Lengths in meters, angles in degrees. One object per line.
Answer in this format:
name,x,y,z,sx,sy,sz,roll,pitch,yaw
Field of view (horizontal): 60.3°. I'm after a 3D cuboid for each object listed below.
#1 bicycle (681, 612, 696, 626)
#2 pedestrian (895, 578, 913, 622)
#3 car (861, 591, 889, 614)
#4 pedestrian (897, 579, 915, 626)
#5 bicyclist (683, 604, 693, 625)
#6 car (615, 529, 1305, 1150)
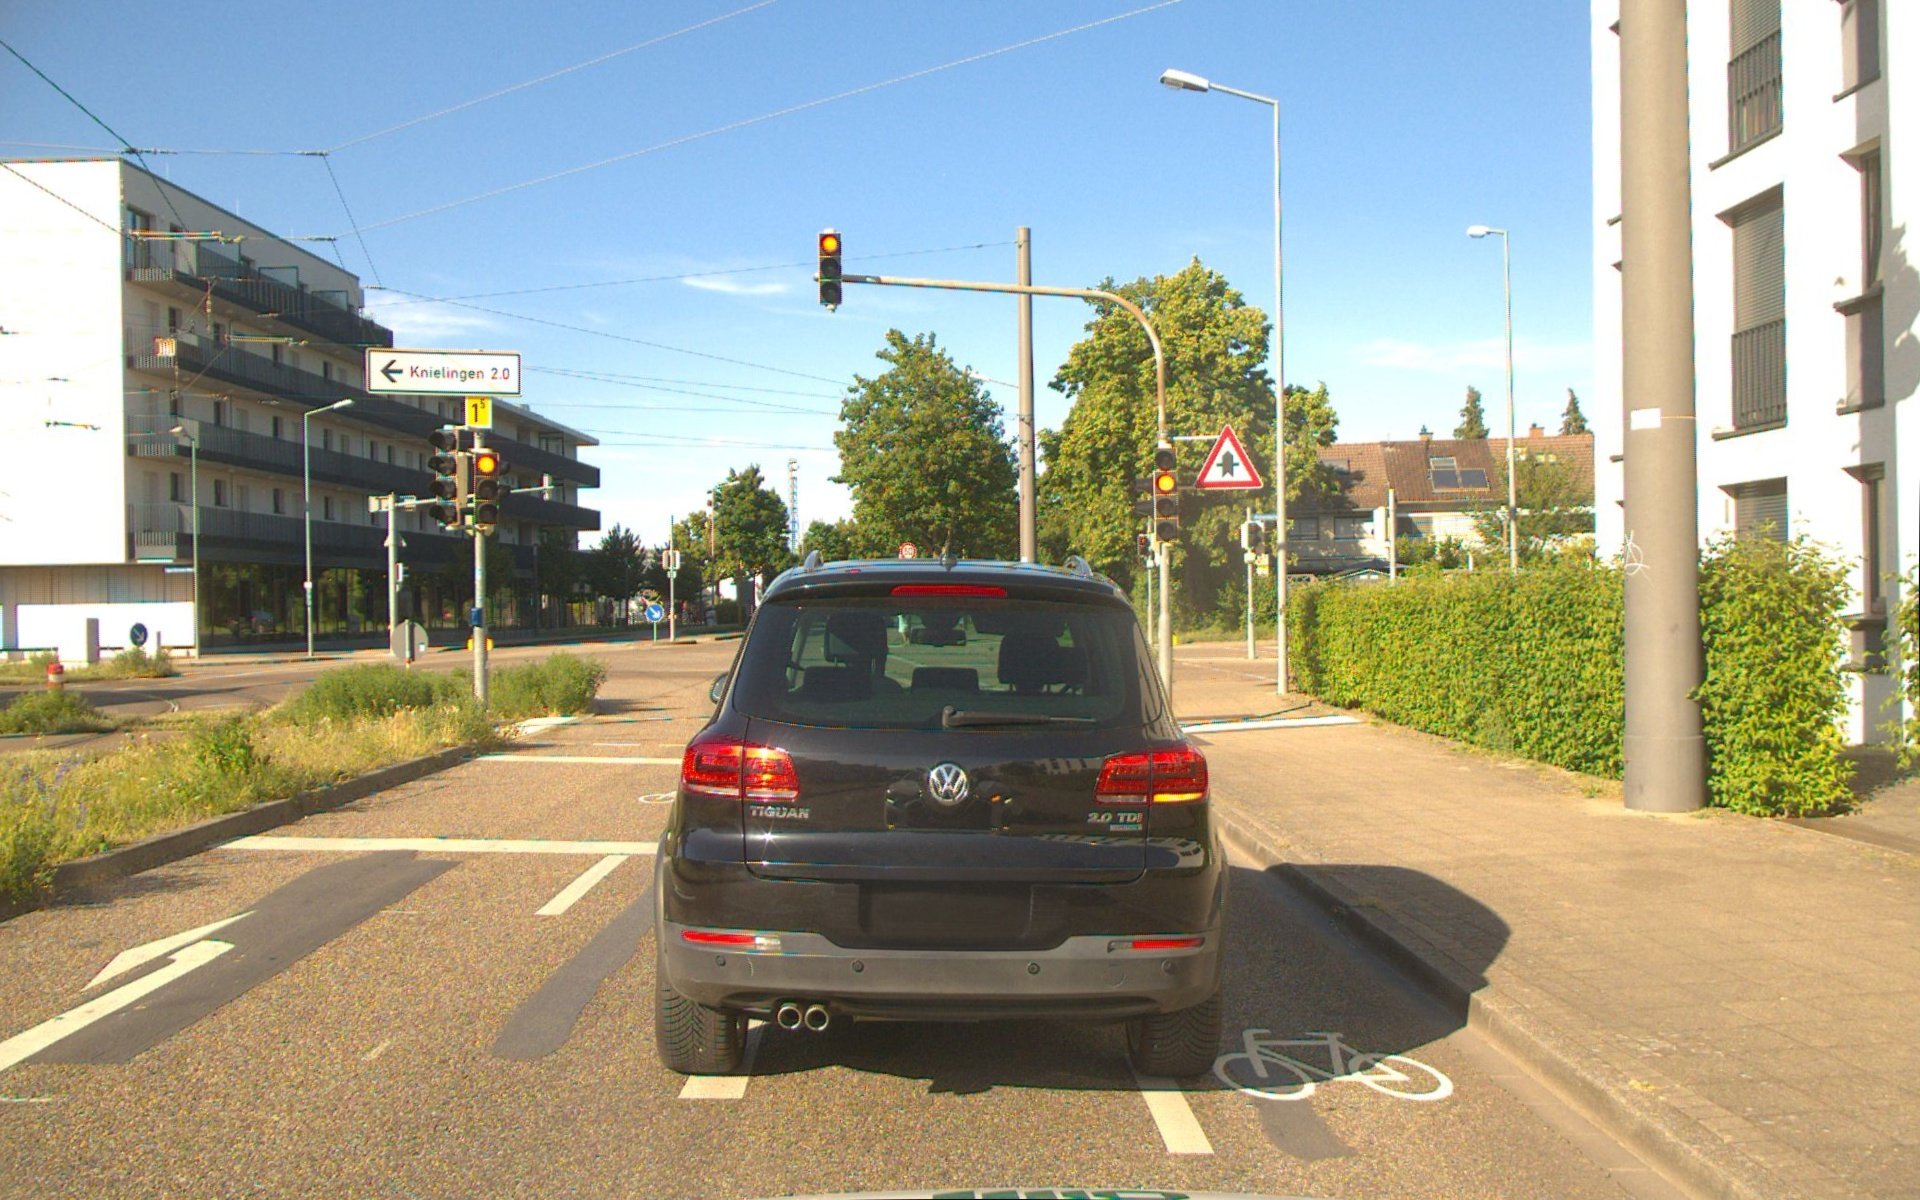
bicycle,-16.909,1.167,103.022,0.485,0.863,2.079,0,0,3
pedestrian,-1.998,0.000,59.069,0.590,1.592,0.529,0,0,4
car,-5.394,0.131,105.532,1.716,1.411,3.998,0,0,-2
pedestrian,-1.940,0.085,59.679,0.590,1.668,0.529,0,0,4
bicyclist,-16.910,0.901,102.884,0.464,1.245,0.713,0,0,3
car,-0.063,0.644,6.497,1.867,1.671,3.998,0,0,-2
